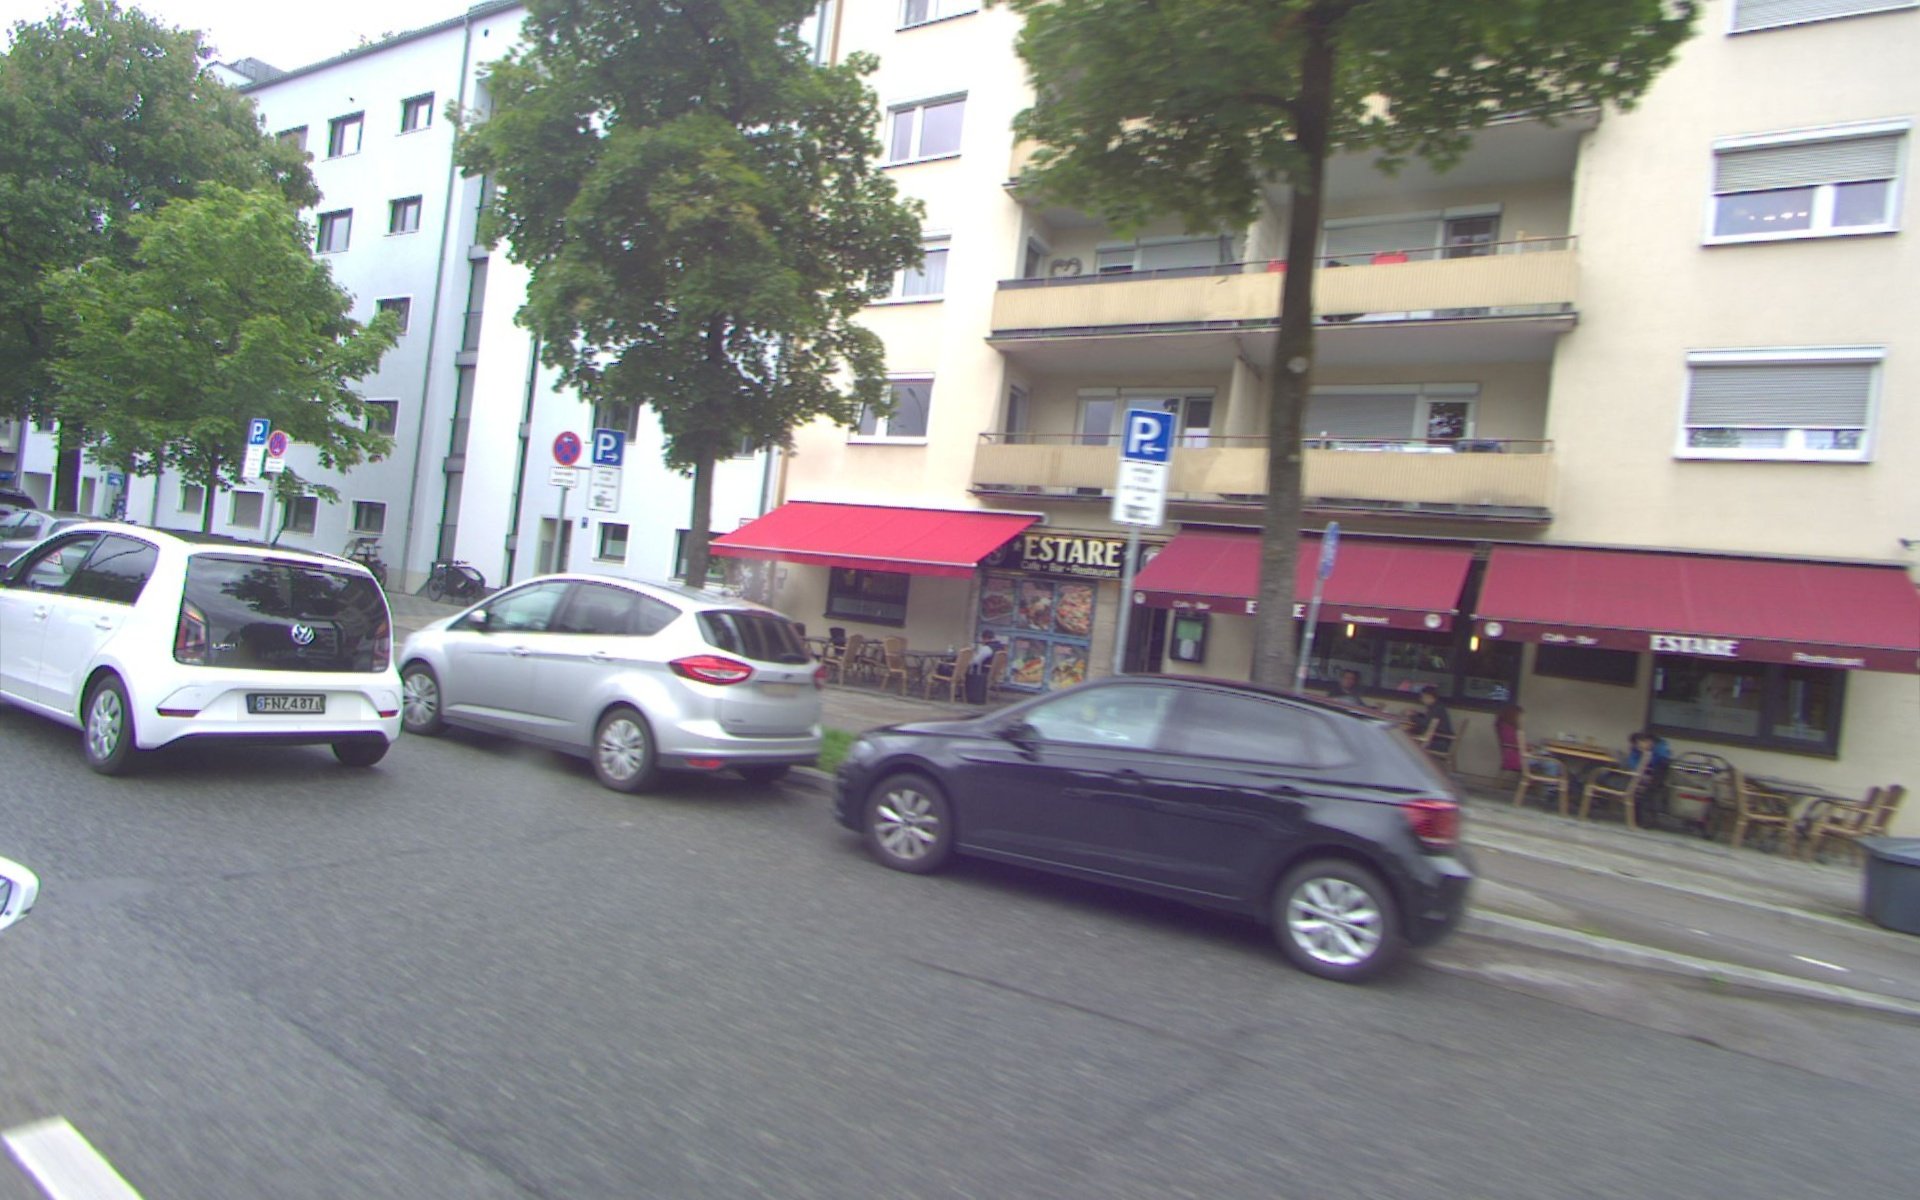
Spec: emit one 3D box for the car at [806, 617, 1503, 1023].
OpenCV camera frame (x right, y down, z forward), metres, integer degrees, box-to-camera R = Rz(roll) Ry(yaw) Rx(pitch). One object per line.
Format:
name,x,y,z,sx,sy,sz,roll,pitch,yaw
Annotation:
car,1.187,1.127,6.435,3.820,1.490,1.834,7,-1,27

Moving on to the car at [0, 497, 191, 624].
car,-13.740,-0.665,15.446,3.709,1.540,1.832,7,-1,33

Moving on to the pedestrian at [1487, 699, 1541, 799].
pedestrian,7.353,1.957,13.346,0.479,1.229,0.539,7,0,32

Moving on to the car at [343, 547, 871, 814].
car,-3.217,0.584,8.940,4.446,1.540,1.833,7,-1,30

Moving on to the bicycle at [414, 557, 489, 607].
bicycle,-12.873,-0.463,25.444,2.159,1.061,0.621,7,3,32

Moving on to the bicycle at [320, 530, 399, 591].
bicycle,-16.652,-1.102,27.866,2.550,1.425,0.703,7,2,32

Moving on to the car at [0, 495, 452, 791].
car,-5.476,0.191,7.047,3.376,1.507,1.690,7,-1,29

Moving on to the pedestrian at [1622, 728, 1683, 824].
pedestrian,8.537,2.159,12.419,0.479,1.066,0.539,7,0,32

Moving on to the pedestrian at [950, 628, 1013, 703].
pedestrian,0.369,1.113,16.989,0.636,1.177,0.744,7,-1,32

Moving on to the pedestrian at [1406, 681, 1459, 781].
pedestrian,6.500,1.793,13.841,0.479,1.283,0.539,7,0,31

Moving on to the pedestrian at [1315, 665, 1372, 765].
pedestrian,5.565,1.661,14.595,0.543,1.355,0.539,7,0,31

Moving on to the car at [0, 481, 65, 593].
car,-17.696,-1.284,17.676,4.437,1.767,1.831,7,-1,35

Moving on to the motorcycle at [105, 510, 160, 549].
motorcycle,-28.490,-2.430,34.619,2.163,1.099,0.762,7,0,32
